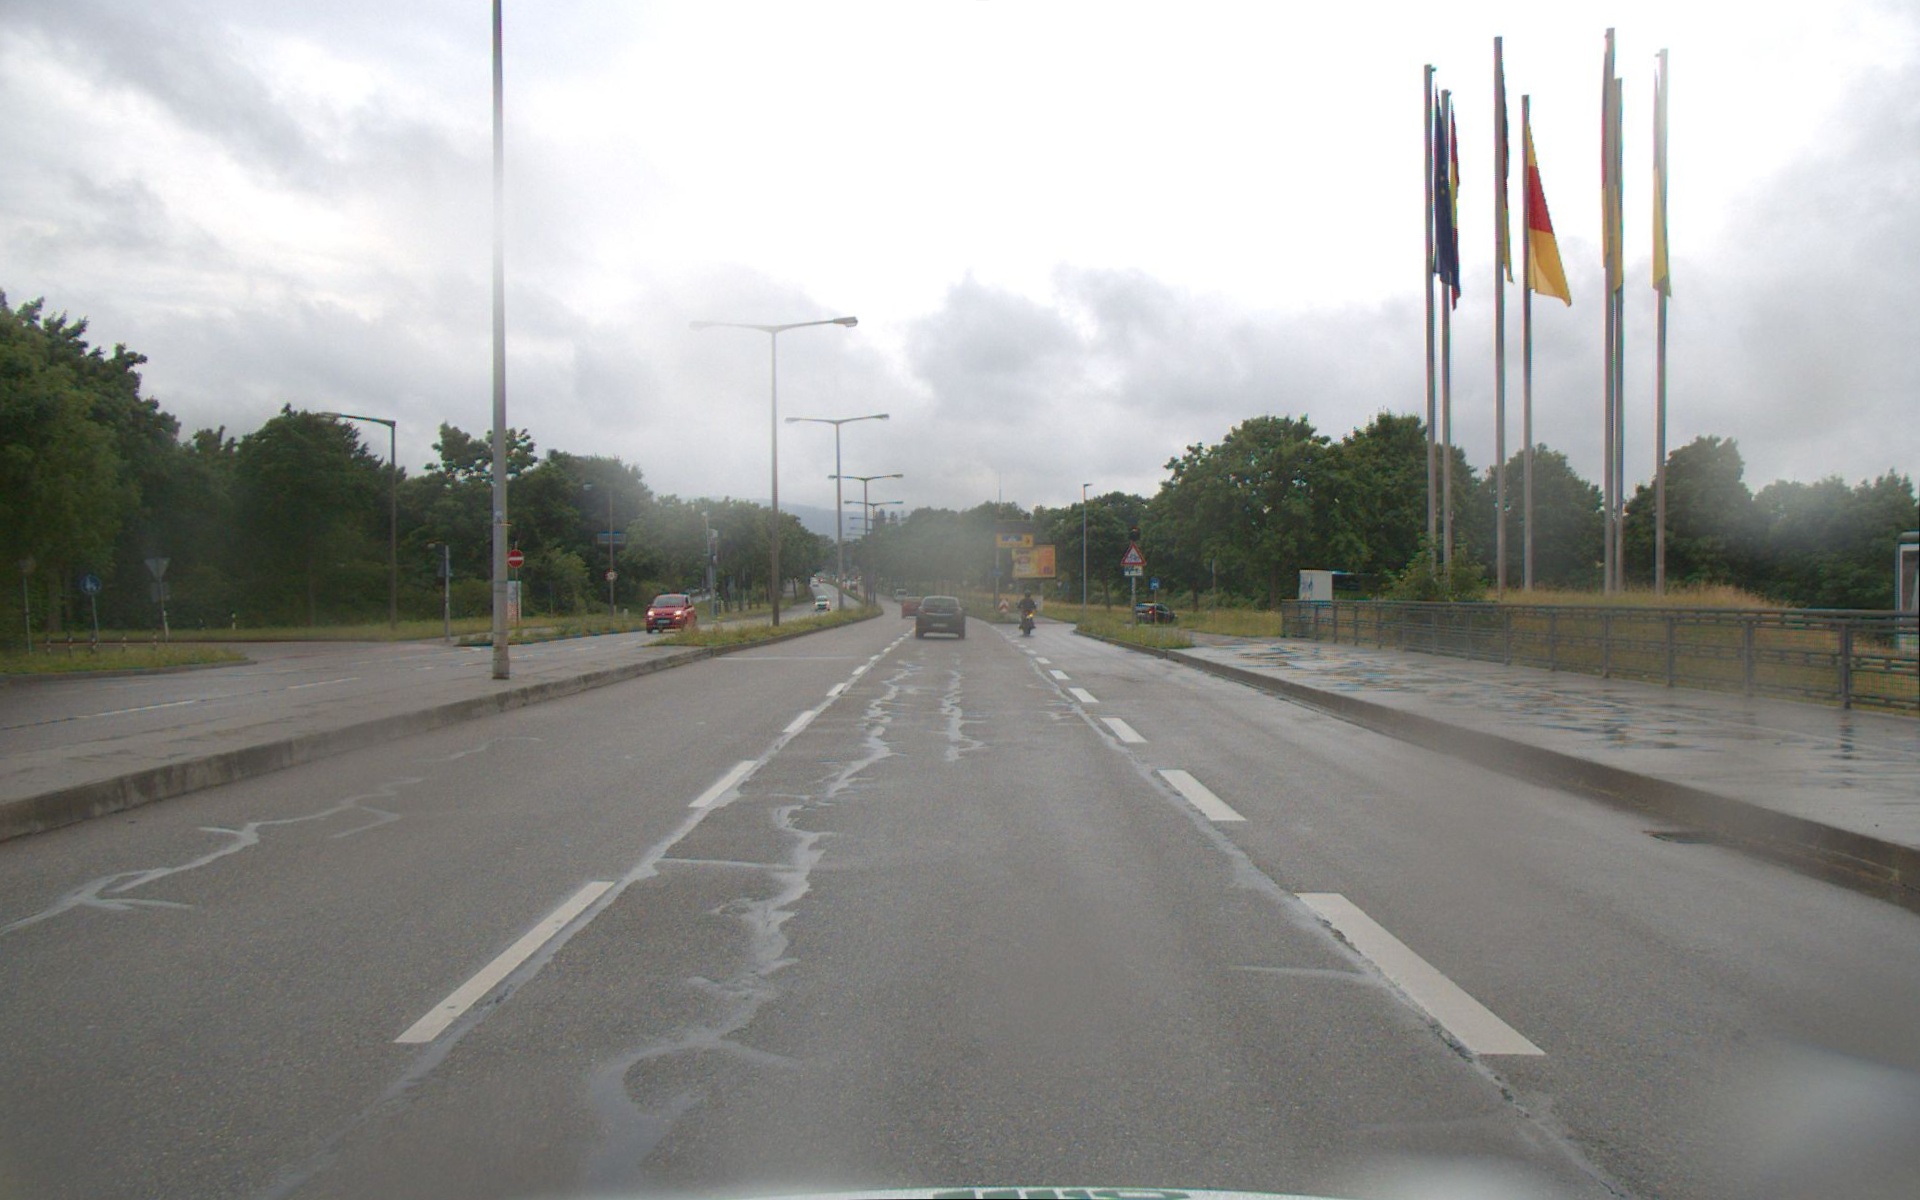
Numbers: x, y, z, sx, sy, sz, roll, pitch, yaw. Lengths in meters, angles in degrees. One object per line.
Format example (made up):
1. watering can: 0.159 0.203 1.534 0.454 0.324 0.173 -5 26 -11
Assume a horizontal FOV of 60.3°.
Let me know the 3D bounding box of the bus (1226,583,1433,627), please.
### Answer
1. bus: 25.758 0.364 115.195 14.289 2.726 2.755 1 0 -13

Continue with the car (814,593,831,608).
1. car: -15.840 0.071 190.559 1.673 1.658 4.490 -2 0 -2

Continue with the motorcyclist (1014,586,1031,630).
1. motorcyclist: 2.467 0.297 64.938 0.589 1.719 0.860 1 0 -2

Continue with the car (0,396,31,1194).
1. car: -3.294 0.481 1.953 1.699 2.054 4.848 0 -1 -1

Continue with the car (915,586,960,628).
1. car: -0.793 0.220 56.557 1.433 1.352 3.757 1 1 -2

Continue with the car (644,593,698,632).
1. car: -11.865 0.502 68.097 1.627 1.473 3.556 -2 0 -1

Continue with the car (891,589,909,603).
1. car: -9.251 -0.579 255.979 2.467 2.088 5.287 0 0 -5

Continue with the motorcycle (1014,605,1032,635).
1. motorcycle: 2.473 0.773 64.960 0.589 1.112 1.731 1 1 -2

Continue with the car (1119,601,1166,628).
1. car: 11.685 0.897 105.572 1.817 1.646 3.998 1 0 24

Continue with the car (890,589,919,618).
1. car: -3.780 0.253 113.109 1.953 1.912 3.999 1 0 -2
